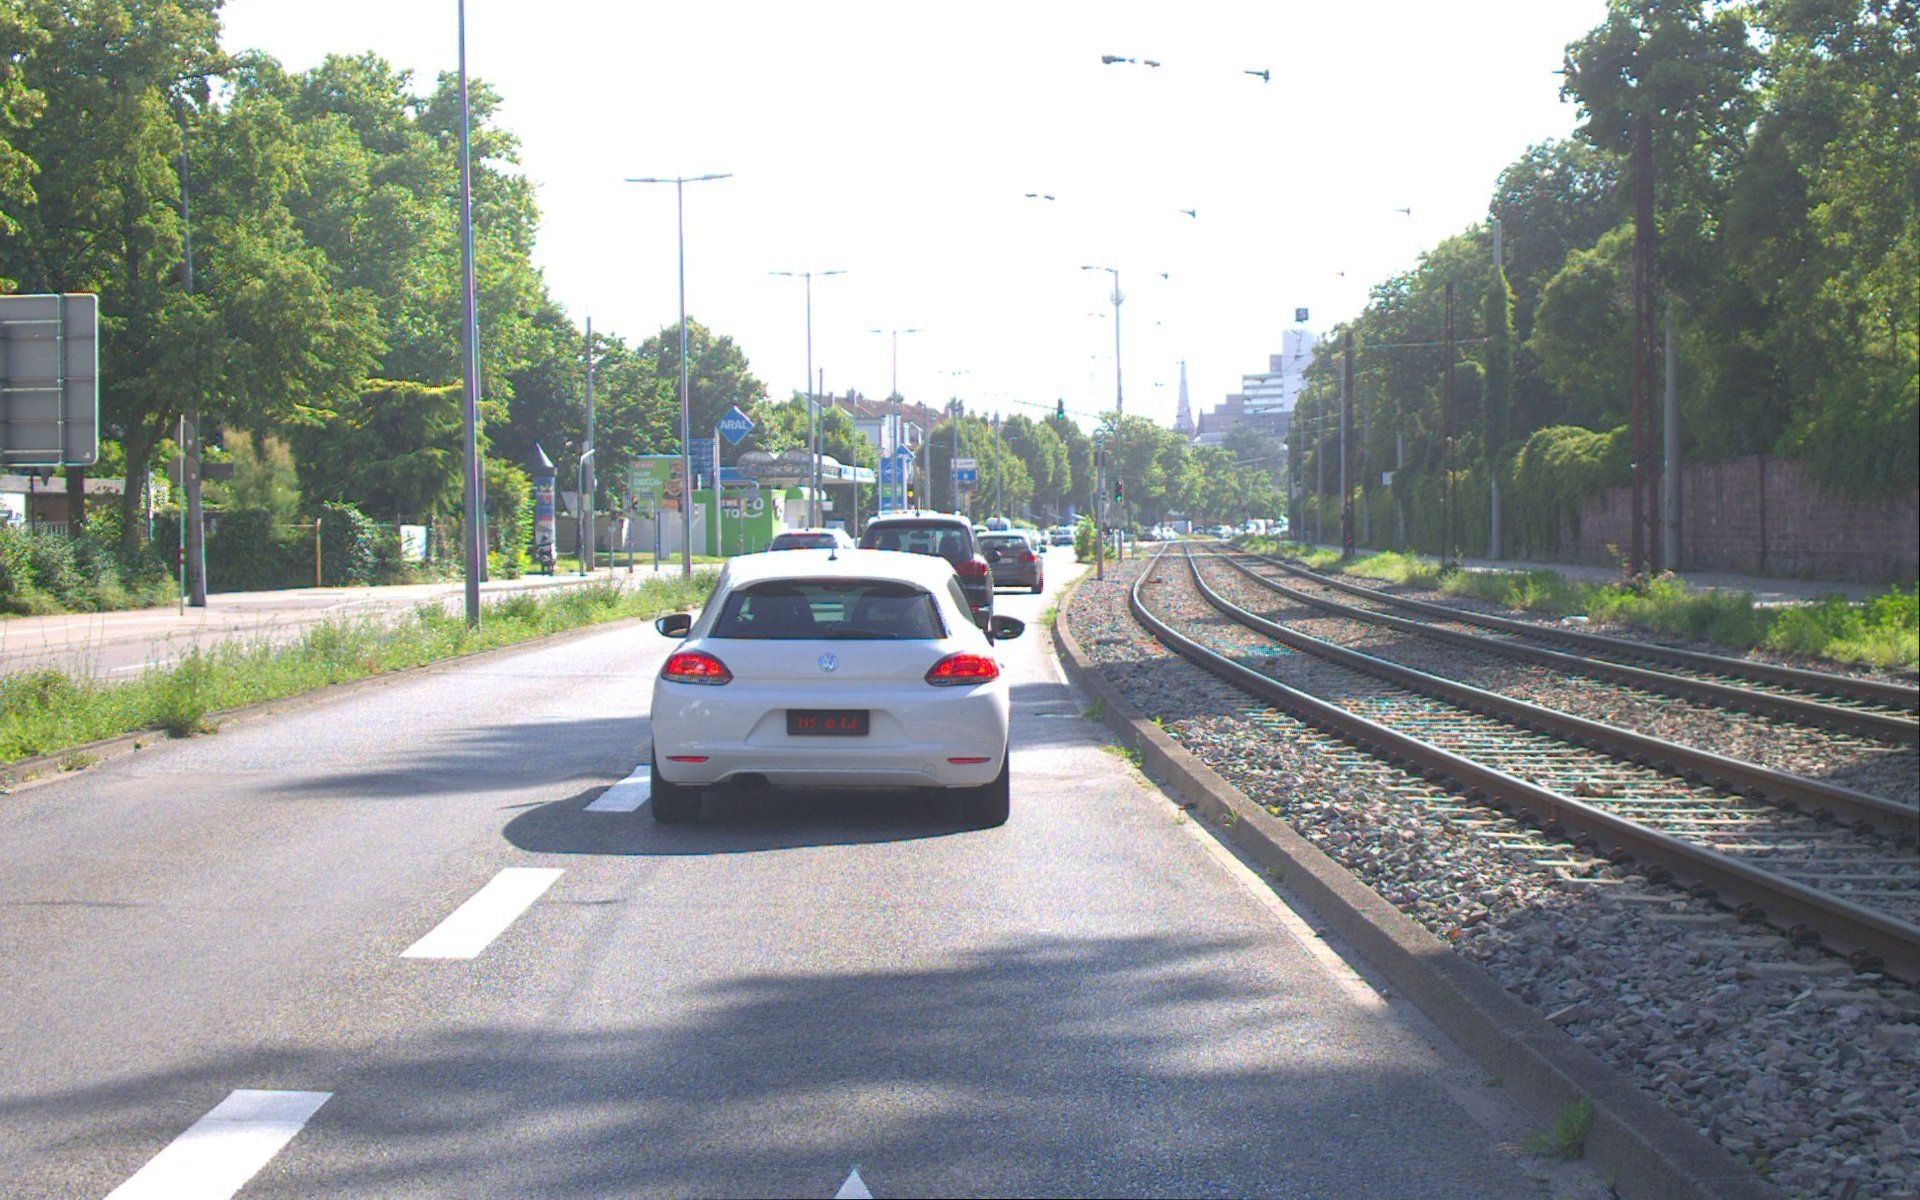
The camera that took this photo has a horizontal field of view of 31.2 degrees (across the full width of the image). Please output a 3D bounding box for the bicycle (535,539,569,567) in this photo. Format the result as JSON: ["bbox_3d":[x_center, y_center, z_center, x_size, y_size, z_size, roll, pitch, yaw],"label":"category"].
[{"bbox_3d":[-15.524,-1.798,130.894,0.662,1.046,2.580,-1,1,7],"label":"bicycle"}]

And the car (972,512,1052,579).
[{"bbox_3d":[1.177,-1.276,79.145,1.749,1.480,3.601,1,1,0],"label":"car"}]

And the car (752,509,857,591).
[{"bbox_3d":[-2.924,-0.971,65.446,1.760,1.480,4.645,1,1,0],"label":"car"}]

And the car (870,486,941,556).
[{"bbox_3d":[-1.562,-2.275,99.846,1.818,1.956,4.402,-1,1,2],"label":"car"}]

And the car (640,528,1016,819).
[{"bbox_3d":[-0.637,0.315,18.305,1.781,1.351,3.601,1,1,0],"label":"car"}]

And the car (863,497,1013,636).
[{"bbox_3d":[-0.262,-0.435,41.904,1.724,1.587,3.601,1,1,0],"label":"car"}]

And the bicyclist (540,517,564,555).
[{"bbox_3d":[-15.529,-2.444,130.957,0.662,1.447,1.050,-1,1,7],"label":"bicyclist"}]
